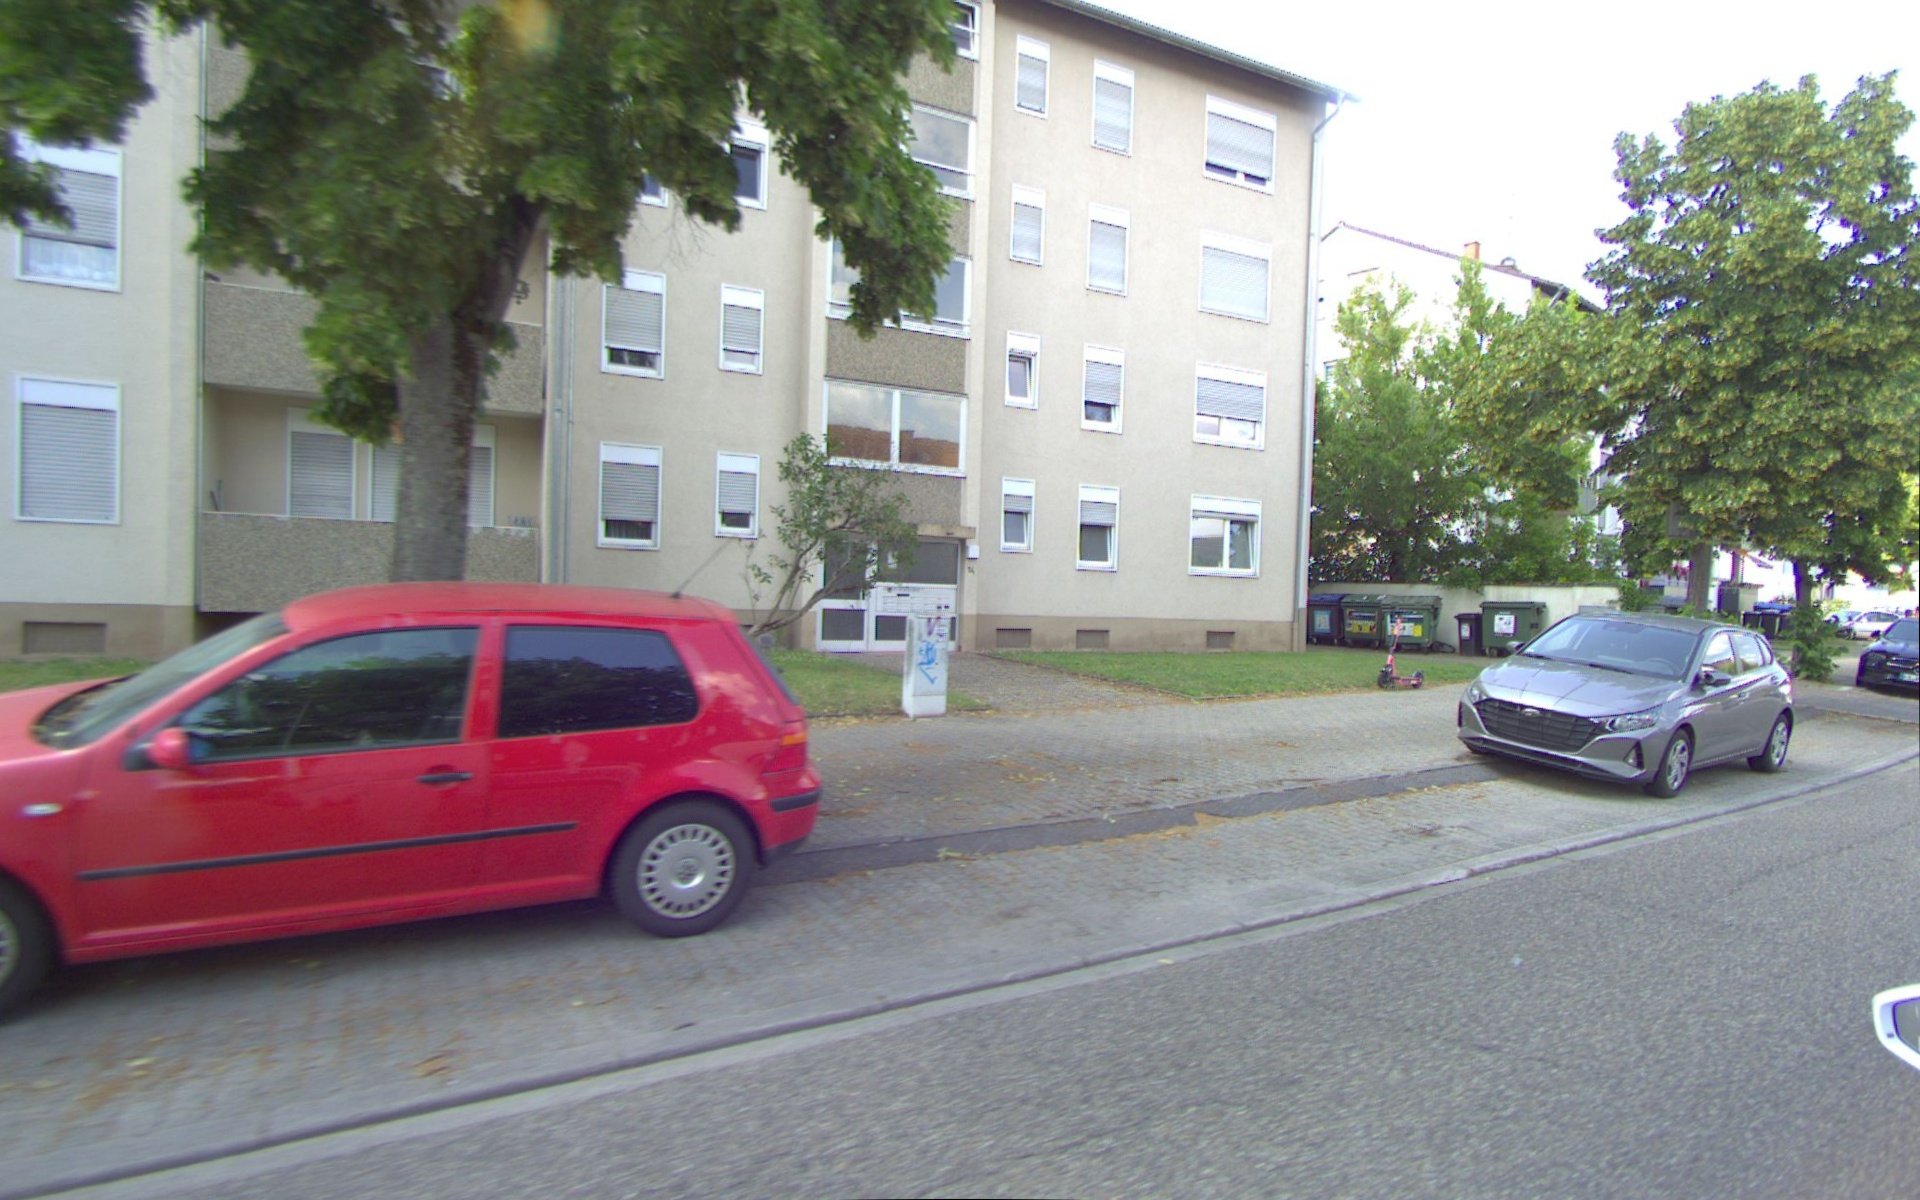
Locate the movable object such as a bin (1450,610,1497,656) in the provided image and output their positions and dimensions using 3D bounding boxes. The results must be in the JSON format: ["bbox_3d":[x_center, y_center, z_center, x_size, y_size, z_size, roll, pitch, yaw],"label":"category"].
[{"bbox_3d":[12.551,0.795,24.562,0.867,1.038,0.622,-3,2,-28],"label":"movable object such as a bin"}]

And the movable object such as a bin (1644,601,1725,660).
[{"bbox_3d":[19.911,0.818,27.612,1.810,1.524,1.344,1,1,-38],"label":"movable object such as a bin"}]

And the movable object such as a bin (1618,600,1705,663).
[{"bbox_3d":[17.987,0.797,25.751,1.810,1.524,1.344,1,1,-38],"label":"movable object such as a bin"}]

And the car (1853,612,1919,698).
[{"bbox_3d":[19.069,1.079,19.718,4.403,1.477,1.770,1,4,-43],"label":"car"}]

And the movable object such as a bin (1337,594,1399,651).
[{"bbox_3d":[10.969,0.587,27.032,0.921,1.457,1.235,-3,2,-37],"label":"movable object such as a bin"}]

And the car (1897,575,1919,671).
[{"bbox_3d":[28.450,0.723,28.272,5.790,2.534,2.047,1,5,-39],"label":"car"}]

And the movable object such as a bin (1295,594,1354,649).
[{"bbox_3d":[10.173,0.572,28.076,0.921,1.457,1.235,-3,2,-37],"label":"movable object such as a bin"}]

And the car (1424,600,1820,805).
[{"bbox_3d":[6.545,0.827,9.774,4.301,1.509,1.748,1,3,-36],"label":"car"}]

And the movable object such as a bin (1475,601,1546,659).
[{"bbox_3d":[12.995,0.681,23.717,0.867,1.292,1.187,-3,2,-28],"label":"movable object such as a bin"}]

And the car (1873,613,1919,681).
[{"bbox_3d":[23.752,1.180,24.257,4.397,1.477,1.772,2,4,-39],"label":"car"}]

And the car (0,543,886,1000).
[{"bbox_3d":[-2.566,0.555,4.565,4.038,1.458,1.830,1,3,-27],"label":"car"}]

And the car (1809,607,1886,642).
[{"bbox_3d":[44.061,1.218,49.822,4.391,1.477,1.775,2,4,-35],"label":"car"}]

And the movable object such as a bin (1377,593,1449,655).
[{"bbox_3d":[11.456,0.580,25.395,1.360,1.457,1.186,-3,2,-40],"label":"movable object such as a bin"}]

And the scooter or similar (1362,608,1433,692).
[{"bbox_3d":[6.532,0.729,14.991,1.129,1.181,0.416,1,2,-36],"label":"scooter or similar"}]
